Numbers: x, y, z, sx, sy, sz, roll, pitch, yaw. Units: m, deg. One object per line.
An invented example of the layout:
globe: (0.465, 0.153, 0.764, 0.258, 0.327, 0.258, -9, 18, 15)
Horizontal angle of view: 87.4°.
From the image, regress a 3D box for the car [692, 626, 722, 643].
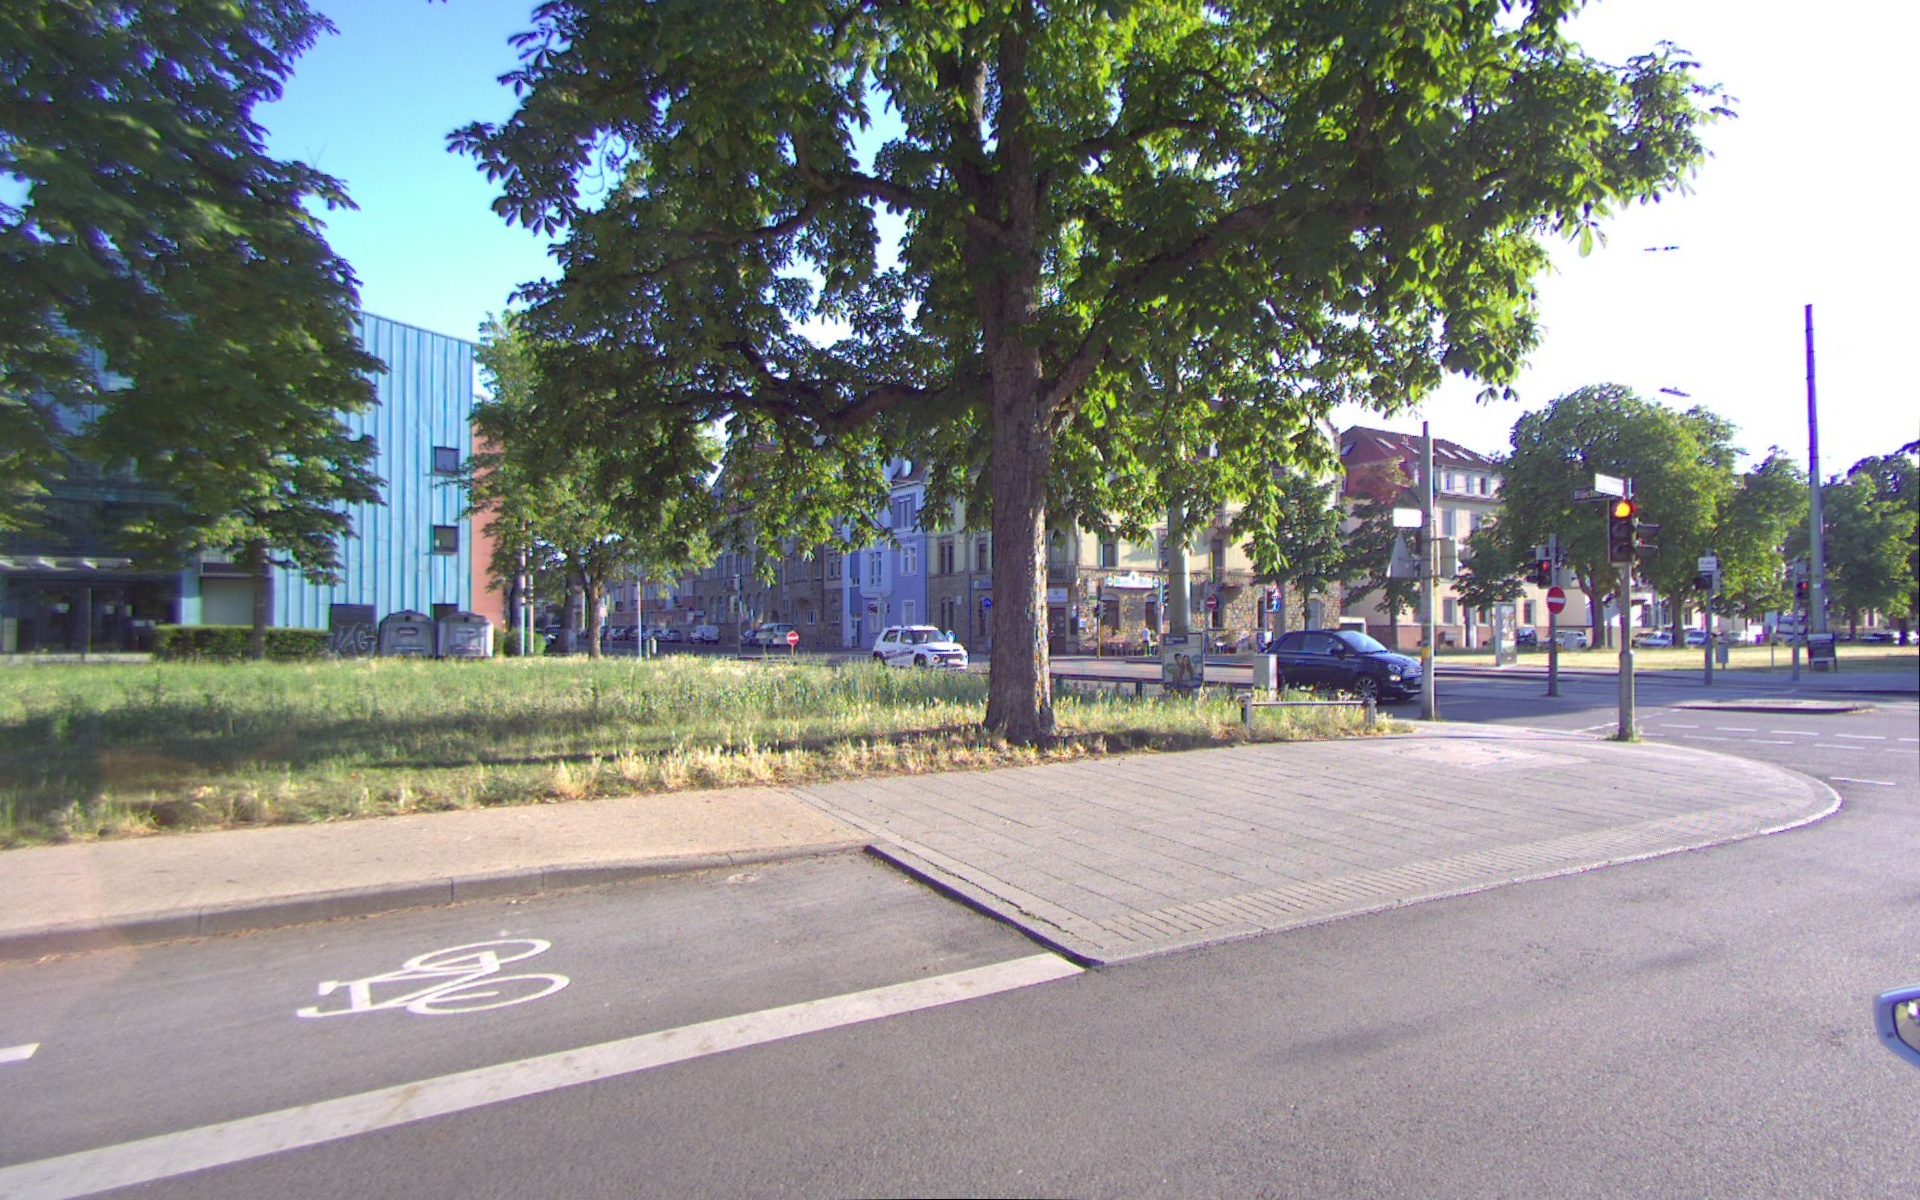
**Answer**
car: (-24.453, 3.326, 96.983, 1.887, 1.610, 4.014, 2, -2, -28)

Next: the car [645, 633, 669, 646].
car: (-33.634, 4.398, 111.486, 1.866, 1.433, 4.014, 1, -2, -28)

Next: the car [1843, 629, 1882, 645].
car: (85.830, 3.501, 95.510, 3.747, 1.446, 1.730, 1, -1, -30)

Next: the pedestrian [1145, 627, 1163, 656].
pedestrian: (11.432, 2.433, 59.287, 0.715, 1.664, 0.811, 1, -1, -22)

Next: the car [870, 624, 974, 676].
car: (-1.305, 1.600, 33.115, 1.596, 1.572, 3.838, 0, -1, -36)

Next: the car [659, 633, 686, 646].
car: (-30.592, 4.222, 106.817, 1.866, 1.299, 4.014, 1, -2, -28)

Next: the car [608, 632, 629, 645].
car: (-42.641, 4.795, 125.402, 1.866, 1.433, 4.014, 1, -1, -28)

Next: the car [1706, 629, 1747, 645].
car: (71.498, 3.442, 93.683, 3.747, 1.446, 1.730, 1, -1, -30)

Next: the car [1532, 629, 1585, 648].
car: (46.225, 2.952, 77.609, 3.740, 1.446, 1.733, 1, -1, -25)

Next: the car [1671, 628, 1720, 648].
car: (56.664, 2.899, 77.368, 3.747, 1.446, 1.730, -1, 0, -30)

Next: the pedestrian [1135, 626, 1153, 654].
pedestrian: (10.735, 2.320, 58.579, 0.809, 1.664, 0.717, 1, -2, -40)

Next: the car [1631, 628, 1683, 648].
car: (51.556, 2.806, 74.271, 3.747, 1.446, 1.730, 1, -1, -30)

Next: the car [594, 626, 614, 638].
car: (-46.097, 4.113, 130.164, 1.866, 1.433, 4.014, 1, -1, -28)

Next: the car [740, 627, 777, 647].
car: (-17.256, 3.164, 85.837, 2.073, 1.612, 4.015, 2, -2, -28)

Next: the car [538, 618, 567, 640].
car: (-32.061, 2.254, 79.014, 1.854, 1.686, 4.534, 1, -1, -26)

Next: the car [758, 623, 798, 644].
car: (-14.722, 2.692, 81.213, 2.073, 1.612, 4.015, 2, -2, -28)

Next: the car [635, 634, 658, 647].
car: (-36.402, 4.670, 116.694, 1.866, 1.433, 4.014, 1, -2, -28)

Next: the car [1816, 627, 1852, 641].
car: (91.896, 3.537, 105.594, 3.747, 1.446, 1.730, 1, -1, -30)

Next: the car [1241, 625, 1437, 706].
car: (7.910, 1.303, 21.165, 1.599, 1.517, 3.566, 0, -1, -40)

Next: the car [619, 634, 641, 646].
car: (-39.800, 4.795, 120.996, 1.866, 1.433, 4.014, 1, -2, -28)
